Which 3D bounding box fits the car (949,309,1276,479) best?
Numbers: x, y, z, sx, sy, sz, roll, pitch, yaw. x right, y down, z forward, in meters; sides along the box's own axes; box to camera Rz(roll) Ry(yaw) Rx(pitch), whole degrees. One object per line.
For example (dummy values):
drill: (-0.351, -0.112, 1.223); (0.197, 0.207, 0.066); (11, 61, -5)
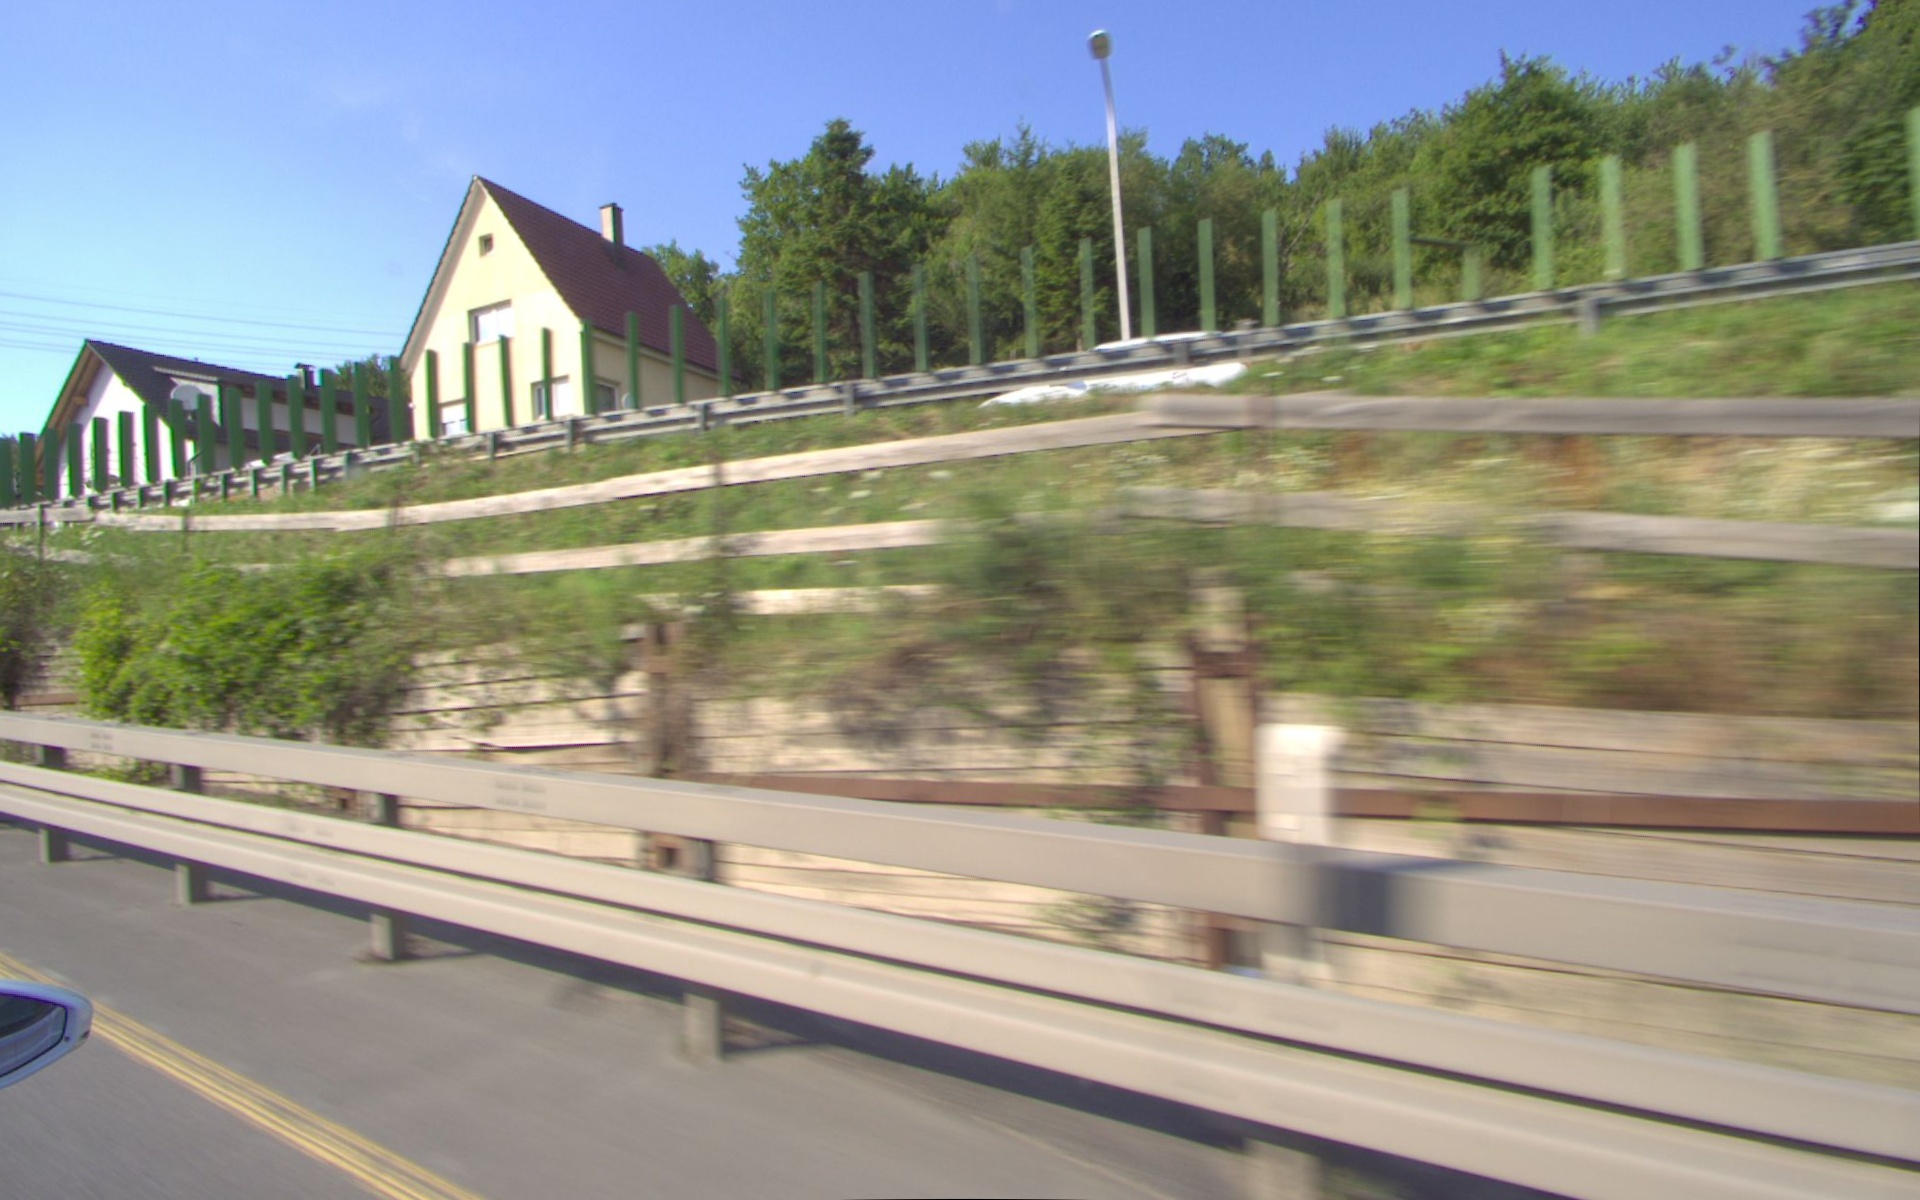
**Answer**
car: (2.300, -2.959, 14.994); (4.567, 1.680, 1.700); (-3, -1, 19)
